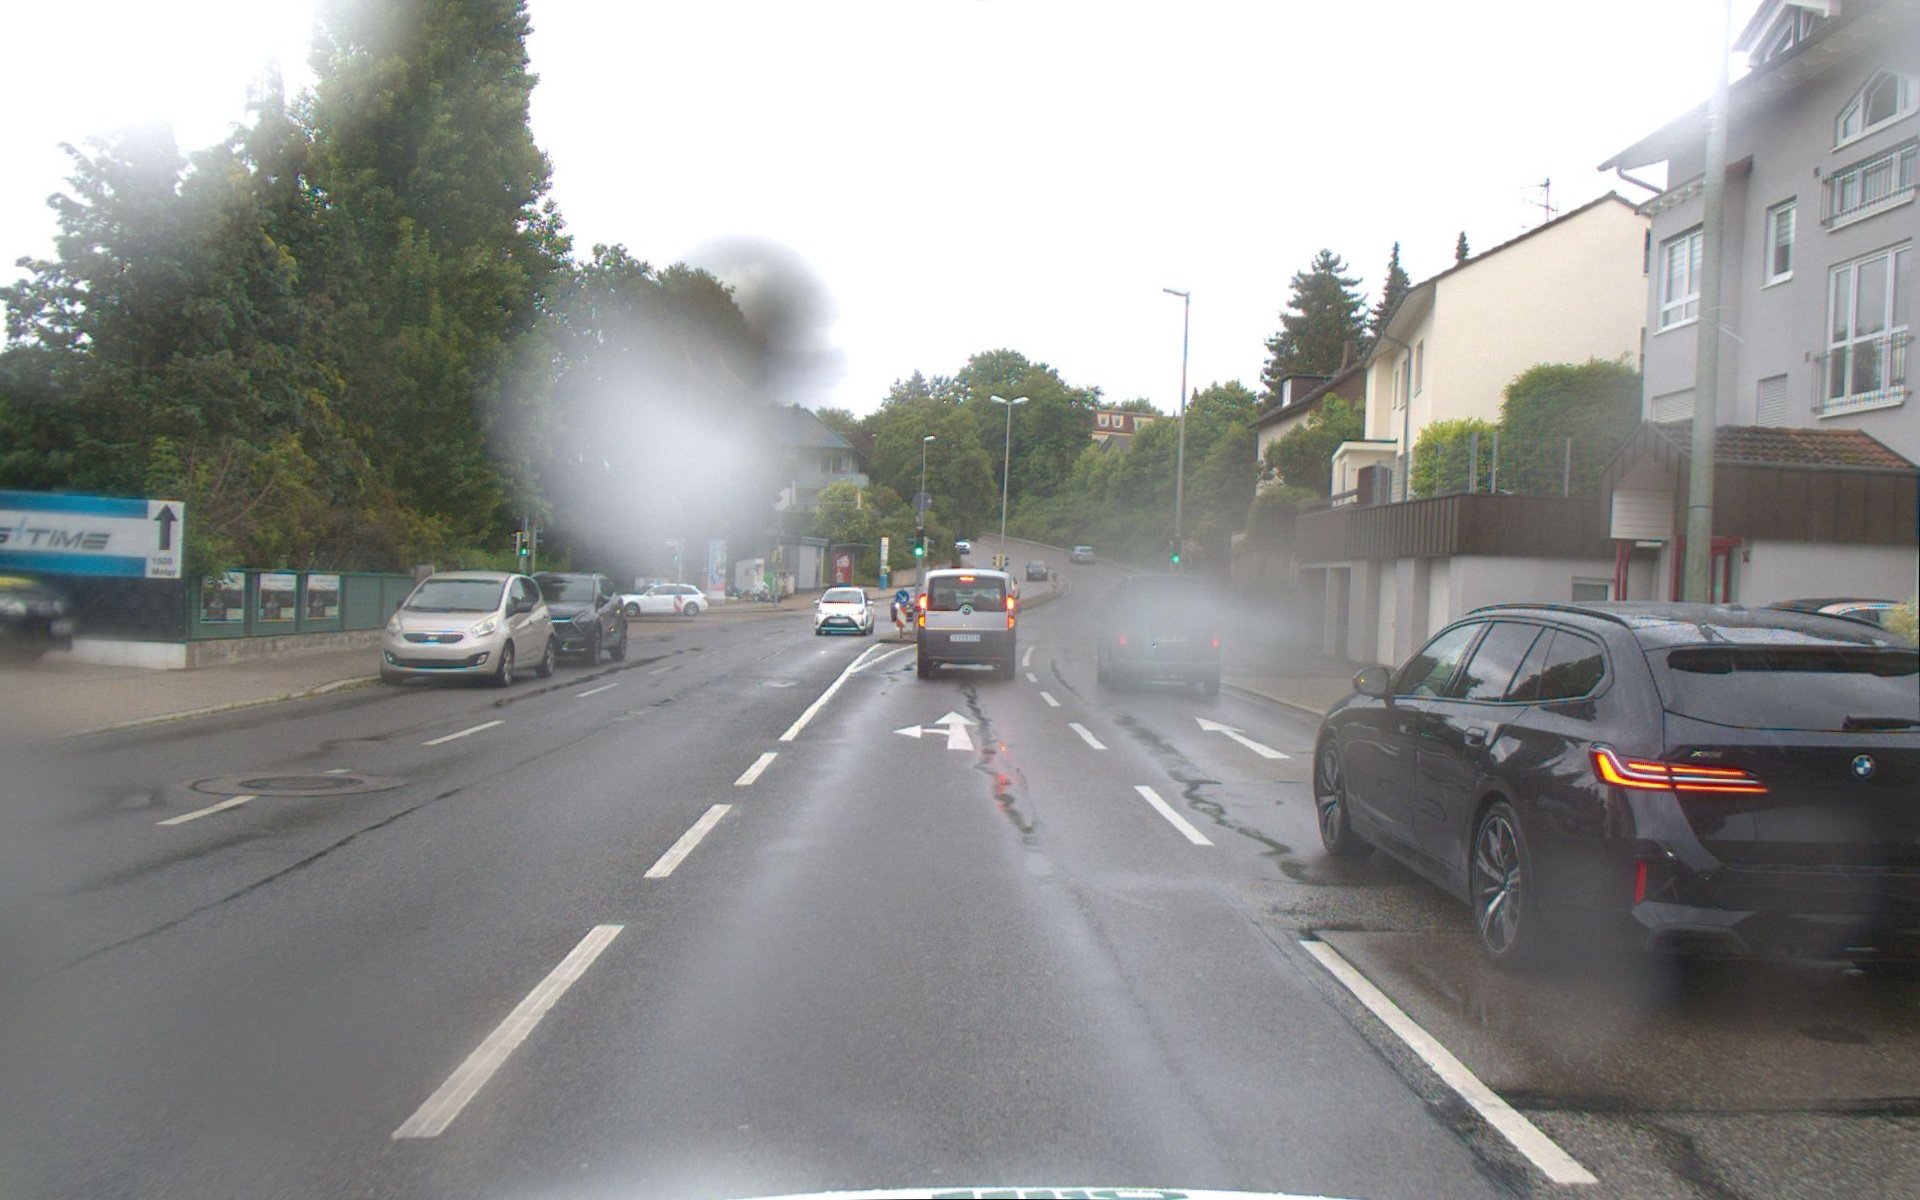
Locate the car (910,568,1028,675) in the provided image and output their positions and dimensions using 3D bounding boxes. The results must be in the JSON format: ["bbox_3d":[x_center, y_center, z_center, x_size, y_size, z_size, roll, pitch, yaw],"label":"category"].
[{"bbox_3d":[0.122,0.357,30.025,1.953,1.768,3.999,2,0,-1],"label":"car"}]

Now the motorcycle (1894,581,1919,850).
[{"bbox_3d":[5.840,0.660,8.616,0.689,1.536,2.150,-1,0,-1],"label":"motorcycle"}]

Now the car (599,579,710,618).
[{"bbox_3d":[-13.331,-0.070,72.198,4.340,1.574,1.978,2,0,-33],"label":"car"}]

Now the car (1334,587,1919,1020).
[{"bbox_3d":[3.195,0.731,7.917,1.952,1.509,4.001,2,0,1],"label":"car"}]

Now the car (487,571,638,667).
[{"bbox_3d":[-7.303,0.325,30.792,1.846,1.612,3.999,2,0,-1],"label":"car"}]

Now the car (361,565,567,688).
[{"bbox_3d":[-7.201,0.351,24.433,1.846,1.612,3.999,2,0,-1],"label":"car"}]

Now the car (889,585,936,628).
[{"bbox_3d":[-2.087,0.285,73.427,1.953,1.803,3.999,2,0,-1],"label":"car"}]

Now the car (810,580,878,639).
[{"bbox_3d":[-3.754,0.299,54.094,1.953,1.803,3.999,2,0,-1],"label":"car"}]

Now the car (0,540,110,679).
[{"bbox_3d":[-12.828,-0.053,19.998,3.992,1.542,1.855,6,0,-2],"label":"car"}]

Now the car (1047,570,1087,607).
[{"bbox_3d":[7.107,-0.785,109.723,2.469,2.048,5.613,2,3,4],"label":"car"}]

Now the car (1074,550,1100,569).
[{"bbox_3d":[11.716,-3.776,152.955,1.953,1.612,3.999,2,0,-1],"label":"car"}]

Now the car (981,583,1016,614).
[{"bbox_3d":[2.333,-0.090,101.186,1.953,1.803,3.999,2,0,-1],"label":"car"}]

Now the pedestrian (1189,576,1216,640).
[{"bbox_3d":[7.969,0.258,54.386,0.854,2.049,0.879,1,0,6],"label":"pedestrian"}]

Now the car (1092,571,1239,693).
[{"bbox_3d":[3.251,0.474,26.923,1.801,1.798,3.999,2,0,-1],"label":"car"}]

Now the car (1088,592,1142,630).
[{"bbox_3d":[6.971,0.472,74.559,1.953,1.606,3.999,2,0,-1],"label":"car"}]

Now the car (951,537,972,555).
[{"bbox_3d":[0.123,-5.321,163.350,1.953,1.612,3.999,2,0,-1],"label":"car"}]
